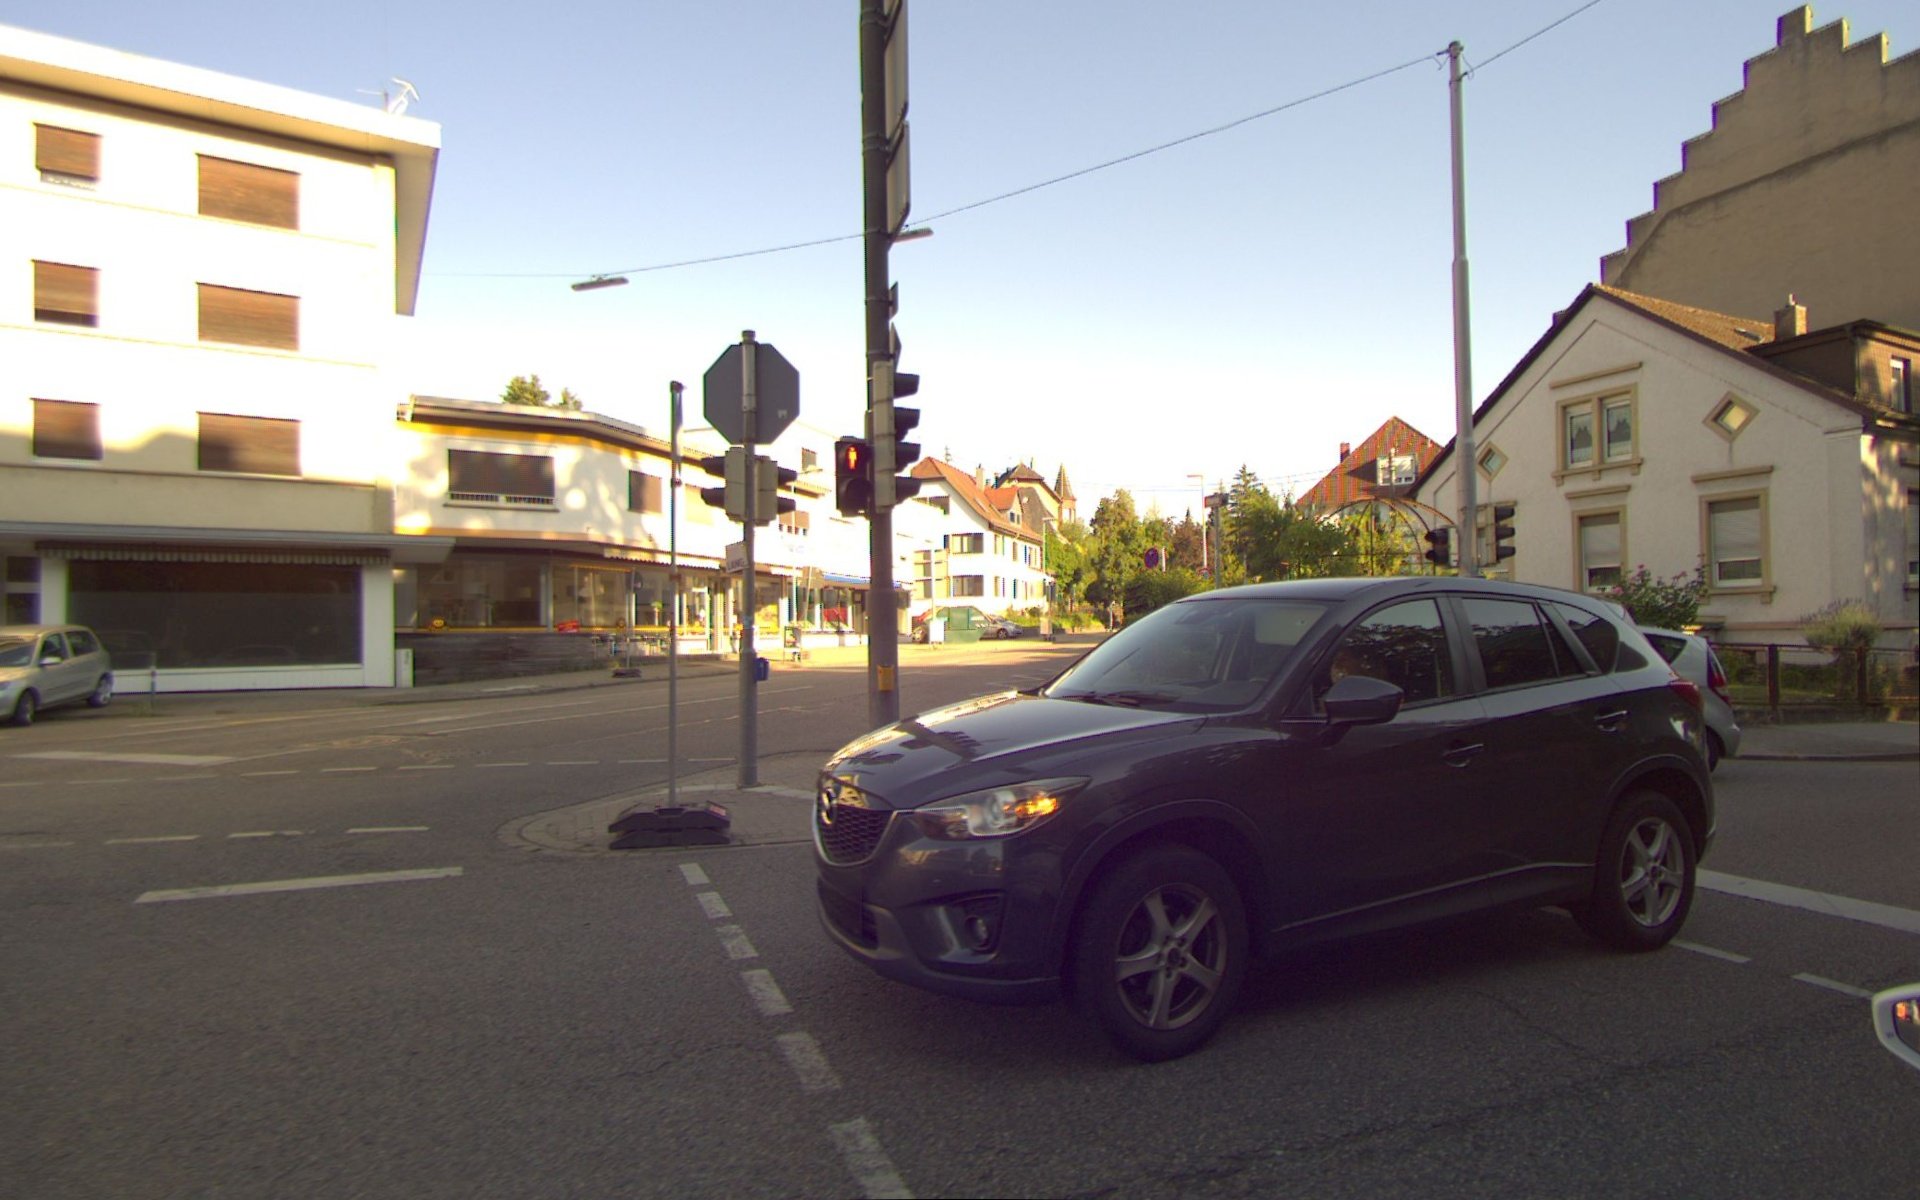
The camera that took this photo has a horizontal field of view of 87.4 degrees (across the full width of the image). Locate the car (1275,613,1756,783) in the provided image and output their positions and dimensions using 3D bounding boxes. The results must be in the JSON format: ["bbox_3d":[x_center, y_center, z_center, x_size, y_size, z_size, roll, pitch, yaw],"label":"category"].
[{"bbox_3d":[5.842,1.007,11.103,4.196,1.670,1.961,-1,-1,7],"label":"car"}]

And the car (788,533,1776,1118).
[{"bbox_3d":[1.524,0.643,4.686,4.226,1.670,1.947,-1,-1,-26],"label":"car"}]

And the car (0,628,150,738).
[{"bbox_3d":[-16.038,1.324,17.048,1.967,1.632,4.314,-1,-1,-15],"label":"car"}]
